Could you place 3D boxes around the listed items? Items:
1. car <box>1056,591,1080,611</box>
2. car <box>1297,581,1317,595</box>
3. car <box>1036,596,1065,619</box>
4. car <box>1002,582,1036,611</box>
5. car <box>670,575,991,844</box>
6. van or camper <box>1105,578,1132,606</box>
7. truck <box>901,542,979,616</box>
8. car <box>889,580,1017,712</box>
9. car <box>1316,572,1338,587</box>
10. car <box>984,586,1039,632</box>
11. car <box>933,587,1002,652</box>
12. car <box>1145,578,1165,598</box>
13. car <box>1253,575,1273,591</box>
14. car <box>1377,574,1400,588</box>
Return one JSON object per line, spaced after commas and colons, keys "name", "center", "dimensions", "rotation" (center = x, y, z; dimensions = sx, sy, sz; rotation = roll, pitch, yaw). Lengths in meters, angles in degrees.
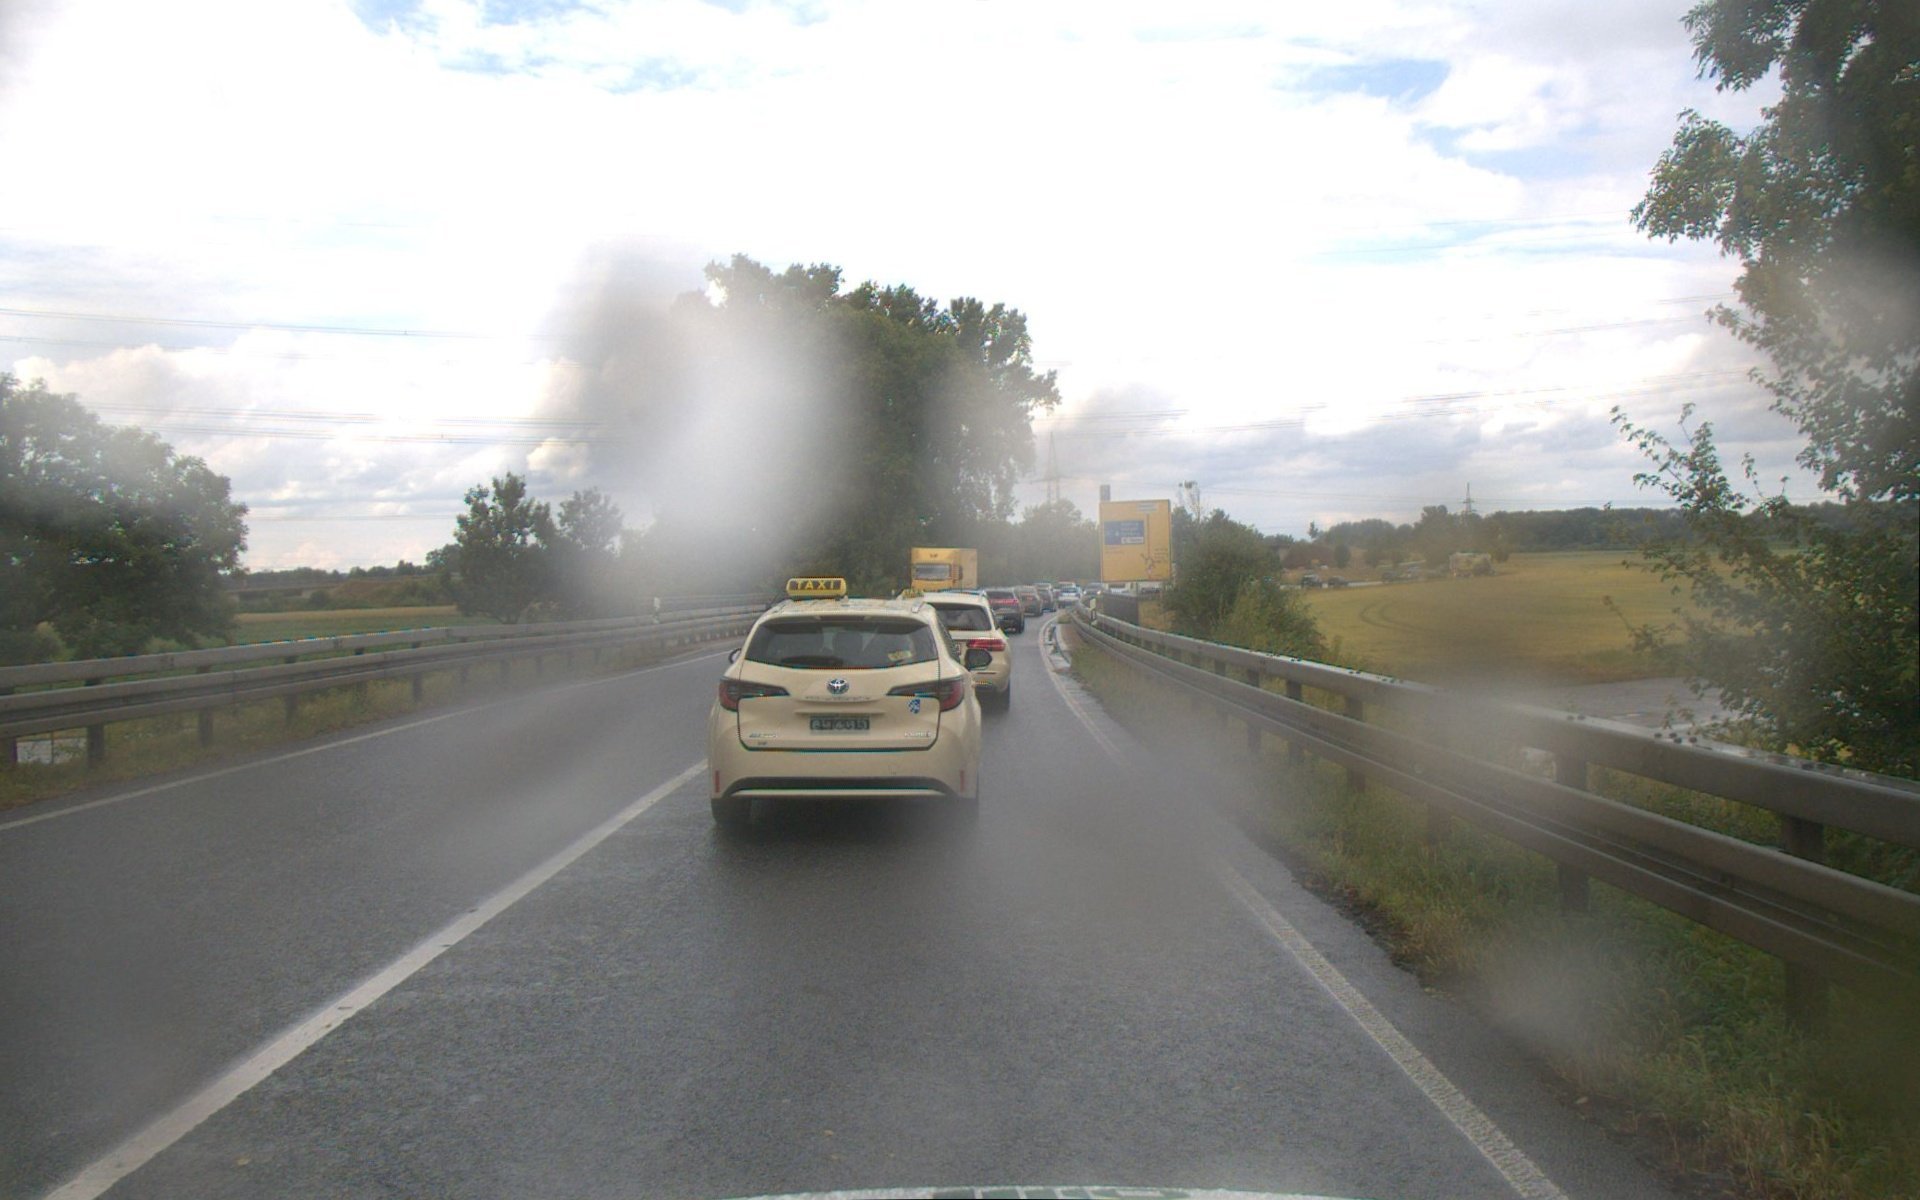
{"name": "car", "center": [7.574, 0.075, 115.527], "dimensions": [1.451, 1.332, 3.479], "rotation": [0, 0, 7]}
{"name": "car", "center": [47.578, -1.647, 226.563], "dimensions": [1.783, 1.870, 3.984], "rotation": [0, 0, 27]}
{"name": "car", "center": [5.395, 0.436, 97.914], "dimensions": [1.451, 1.332, 3.479], "rotation": [0, 0, 7]}
{"name": "car", "center": [3.008, -0.154, 83.281], "dimensions": [1.625, 1.434, 3.906], "rotation": [0, -1, 3]}
{"name": "car", "center": [-0.735, 0.633, 11.737], "dimensions": [1.867, 1.564, 4.162], "rotation": [0, 0, 1]}
{"name": "van or camper", "center": [13.586, -0.680, 141.298], "dimensions": [1.951, 2.293, 4.003], "rotation": [1, 0, 10]}
{"name": "truck", "center": [-0.926, -1.017, 84.813], "dimensions": [2.712, 3.489, 9.194], "rotation": [2, 0, 7]}
{"name": "car", "center": [-0.055, 0.556, 21.935], "dimensions": [1.545, 1.600, 3.682], "rotation": [0, 0, 1]}
{"name": "car", "center": [52.302, -2.970, 235.540], "dimensions": [1.956, 2.049, 3.992], "rotation": [0, 0, 30]}
{"name": "car", "center": [1.697, 0.295, 55.370], "dimensions": [1.631, 1.489, 3.476], "rotation": [0, 0, -2]}
{"name": "car", "center": [0.206, 0.432, 38.979], "dimensions": [1.474, 1.462, 3.357], "rotation": [1, 0, 3]}
{"name": "car", "center": [18.945, -1.159, 160.806], "dimensions": [1.695, 1.851, 4.003], "rotation": [1, 0, 9]}
{"name": "car", "center": [38.662, -2.169, 210.900], "dimensions": [1.880, 1.870, 4.001], "rotation": [0, 0, 19]}
{"name": "car", "center": [65.558, -2.916, 253.080], "dimensions": [2.104, 2.049, 3.987], "rotation": [0, 0, 34]}
